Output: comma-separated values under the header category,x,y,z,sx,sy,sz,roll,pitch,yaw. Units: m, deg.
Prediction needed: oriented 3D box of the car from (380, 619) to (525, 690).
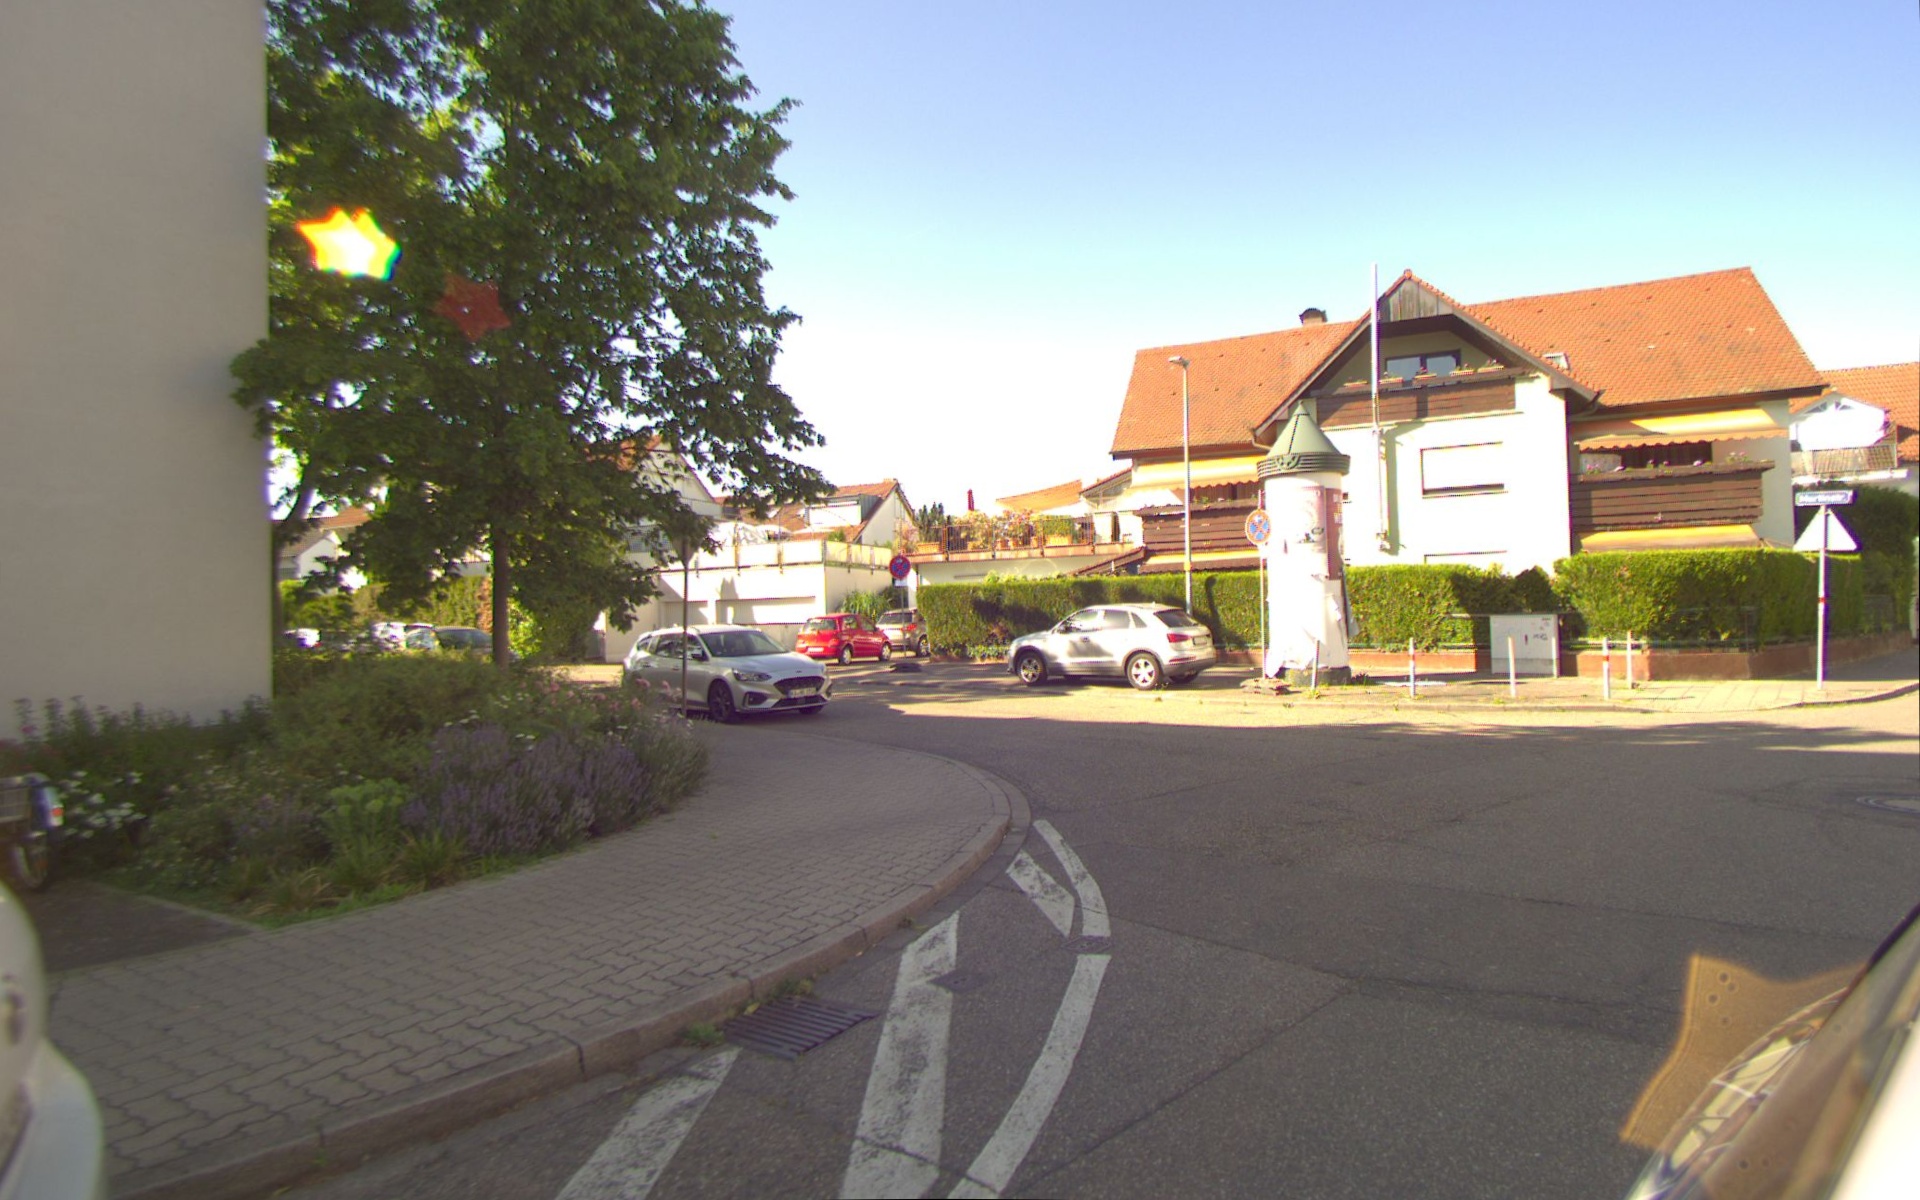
category,x,y,z,sx,sy,sz,roll,pitch,yaw
car,-12.061,1.229,23.917,4.290,1.513,1.786,-2,-1,44

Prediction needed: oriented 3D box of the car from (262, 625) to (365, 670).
category,x,y,z,sx,sy,sz,roll,pitch,yaw
car,-23.998,1.745,37.556,3.689,1.518,1.682,-2,0,29

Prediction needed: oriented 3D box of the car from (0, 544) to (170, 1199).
category,x,y,z,sx,sy,sz,roll,pitch,yaw
car,-3.207,0.750,0.402,4.419,1.533,1.852,0,-2,-34

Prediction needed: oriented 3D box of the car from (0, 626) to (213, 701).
category,x,y,z,sx,sy,sz,roll,pitch,yaw
car,-19.156,1.356,22.491,3.934,1.428,1.795,-1,-1,-44

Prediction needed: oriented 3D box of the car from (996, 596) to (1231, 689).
category,x,y,z,sx,sy,sz,roll,pitch,yaw
car,2.961,0.783,20.017,4.283,1.613,1.789,-1,0,40

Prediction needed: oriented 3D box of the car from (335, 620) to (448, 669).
category,x,y,z,sx,sy,sz,roll,pitch,yaw
car,-19.547,1.514,34.769,3.689,1.518,1.682,-2,0,29

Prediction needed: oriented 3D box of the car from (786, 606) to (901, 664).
category,x,y,z,sx,sy,sz,roll,pitch,yaw
car,-3.432,1.016,30.495,1.681,1.518,3.690,-2,0,27

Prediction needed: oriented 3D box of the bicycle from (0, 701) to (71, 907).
category,x,y,z,sx,sy,sz,roll,pitch,yaw
bicycle,-5.054,1.058,5.472,0.307,0.932,1.165,0,-1,-38

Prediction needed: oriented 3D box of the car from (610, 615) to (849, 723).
category,x,y,z,sx,sy,sz,roll,pitch,yaw
car,-3.881,1.039,16.607,4.290,1.513,1.786,-2,-1,44

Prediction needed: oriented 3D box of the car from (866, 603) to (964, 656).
category,x,y,z,sx,sy,sz,roll,pitch,yaw
car,-1.447,0.964,34.067,1.681,1.589,3.690,-2,0,27
